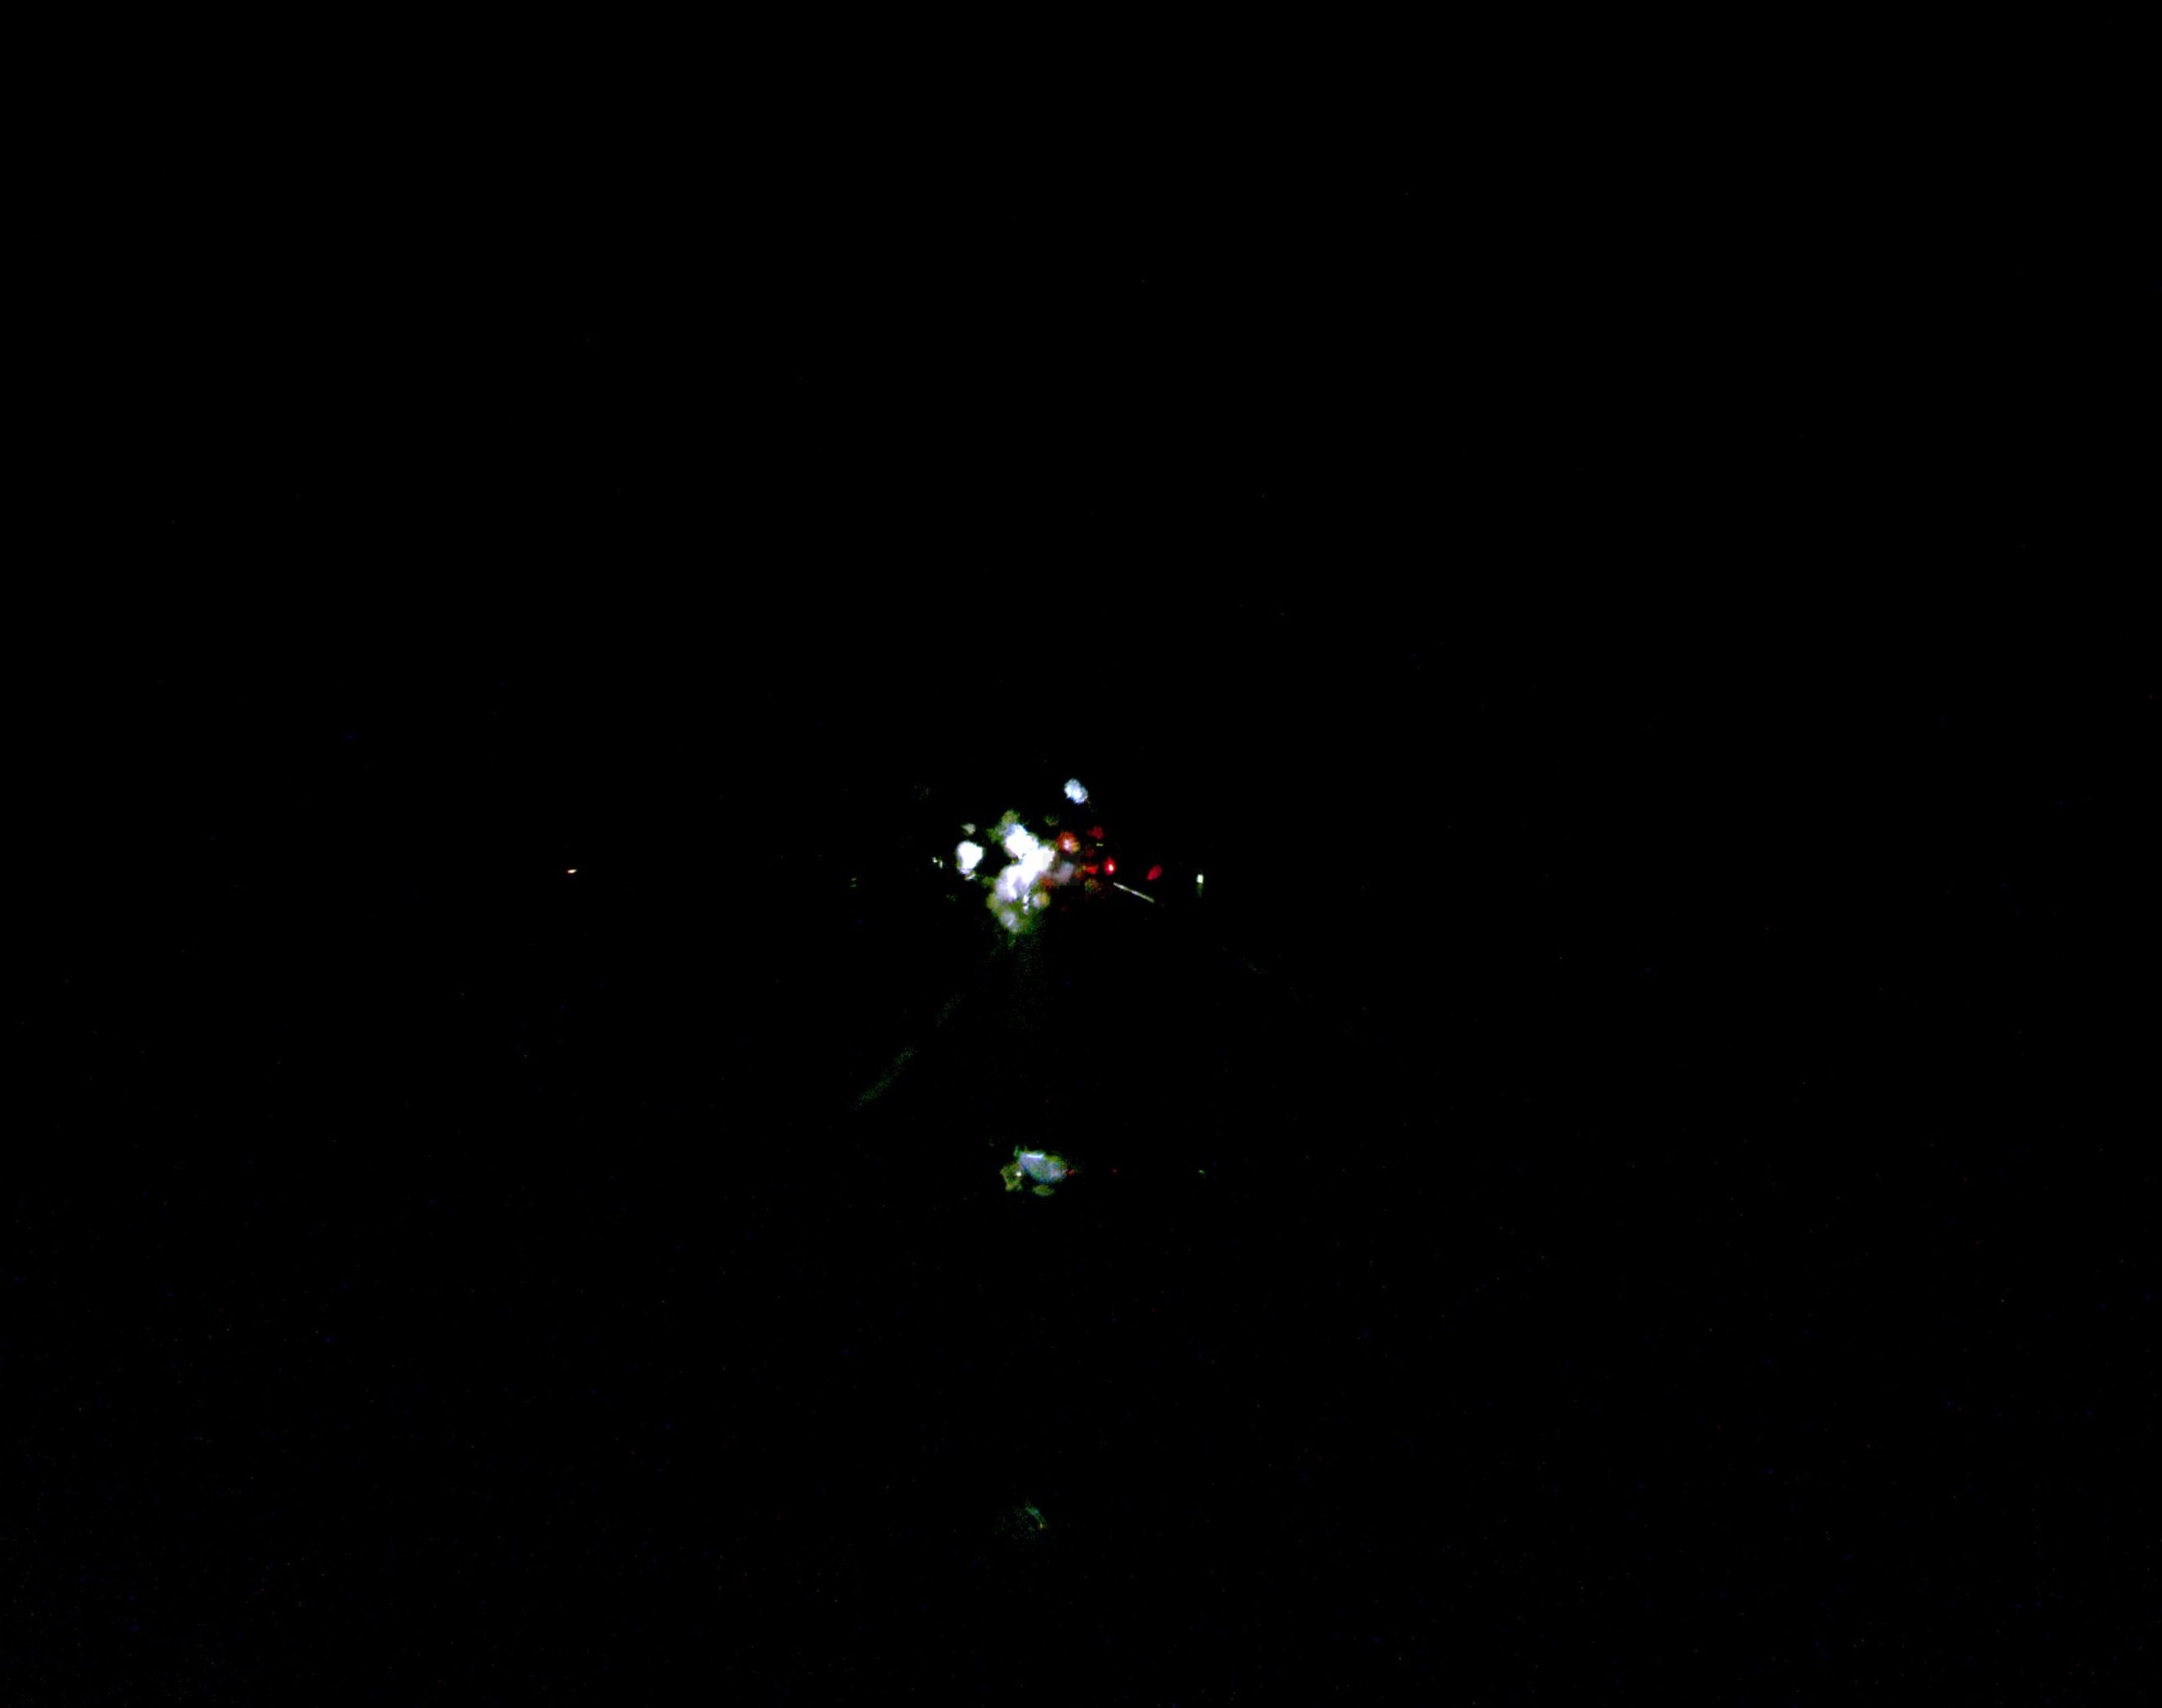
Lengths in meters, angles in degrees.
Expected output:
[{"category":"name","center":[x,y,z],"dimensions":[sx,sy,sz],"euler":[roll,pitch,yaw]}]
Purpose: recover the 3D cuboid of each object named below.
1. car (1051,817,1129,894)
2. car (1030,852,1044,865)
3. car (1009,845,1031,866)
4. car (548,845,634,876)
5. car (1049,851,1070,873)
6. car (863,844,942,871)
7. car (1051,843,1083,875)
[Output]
[{"category":"car","center":[0.217,0.015,30.025],"dimensions":[2.532,2.498,5.710],"euler":[-1,1,-2]},{"category":"car","center":[-6.531,0.652,120.799],"dimensions":[1.888,1.910,3.789],"euler":[2,-1,-4]},{"category":"car","center":[-5.258,0.105,70.363],"dimensions":[1.750,1.734,3.995],"euler":[2,1,-4]},{"category":"car","center":[-29.509,0.362,49.080],"dimensions":[4.186,1.687,1.674],"euler":[-2,-1,-41]},{"category":"car","center":[-1.894,0.711,71.010],"dimensions":[1.735,1.714,3.697],"euler":[2,-2,-1]},{"category":"car","center":[-11.847,0.221,54.429],"dimensions":[4.904,1.734,1.997],"euler":[-1,0,-5]},{"category":"car","center":[-0.990,0.380,55.462],"dimensions":[1.988,2.014,3.996],"euler":[2,-2,-2]}]
